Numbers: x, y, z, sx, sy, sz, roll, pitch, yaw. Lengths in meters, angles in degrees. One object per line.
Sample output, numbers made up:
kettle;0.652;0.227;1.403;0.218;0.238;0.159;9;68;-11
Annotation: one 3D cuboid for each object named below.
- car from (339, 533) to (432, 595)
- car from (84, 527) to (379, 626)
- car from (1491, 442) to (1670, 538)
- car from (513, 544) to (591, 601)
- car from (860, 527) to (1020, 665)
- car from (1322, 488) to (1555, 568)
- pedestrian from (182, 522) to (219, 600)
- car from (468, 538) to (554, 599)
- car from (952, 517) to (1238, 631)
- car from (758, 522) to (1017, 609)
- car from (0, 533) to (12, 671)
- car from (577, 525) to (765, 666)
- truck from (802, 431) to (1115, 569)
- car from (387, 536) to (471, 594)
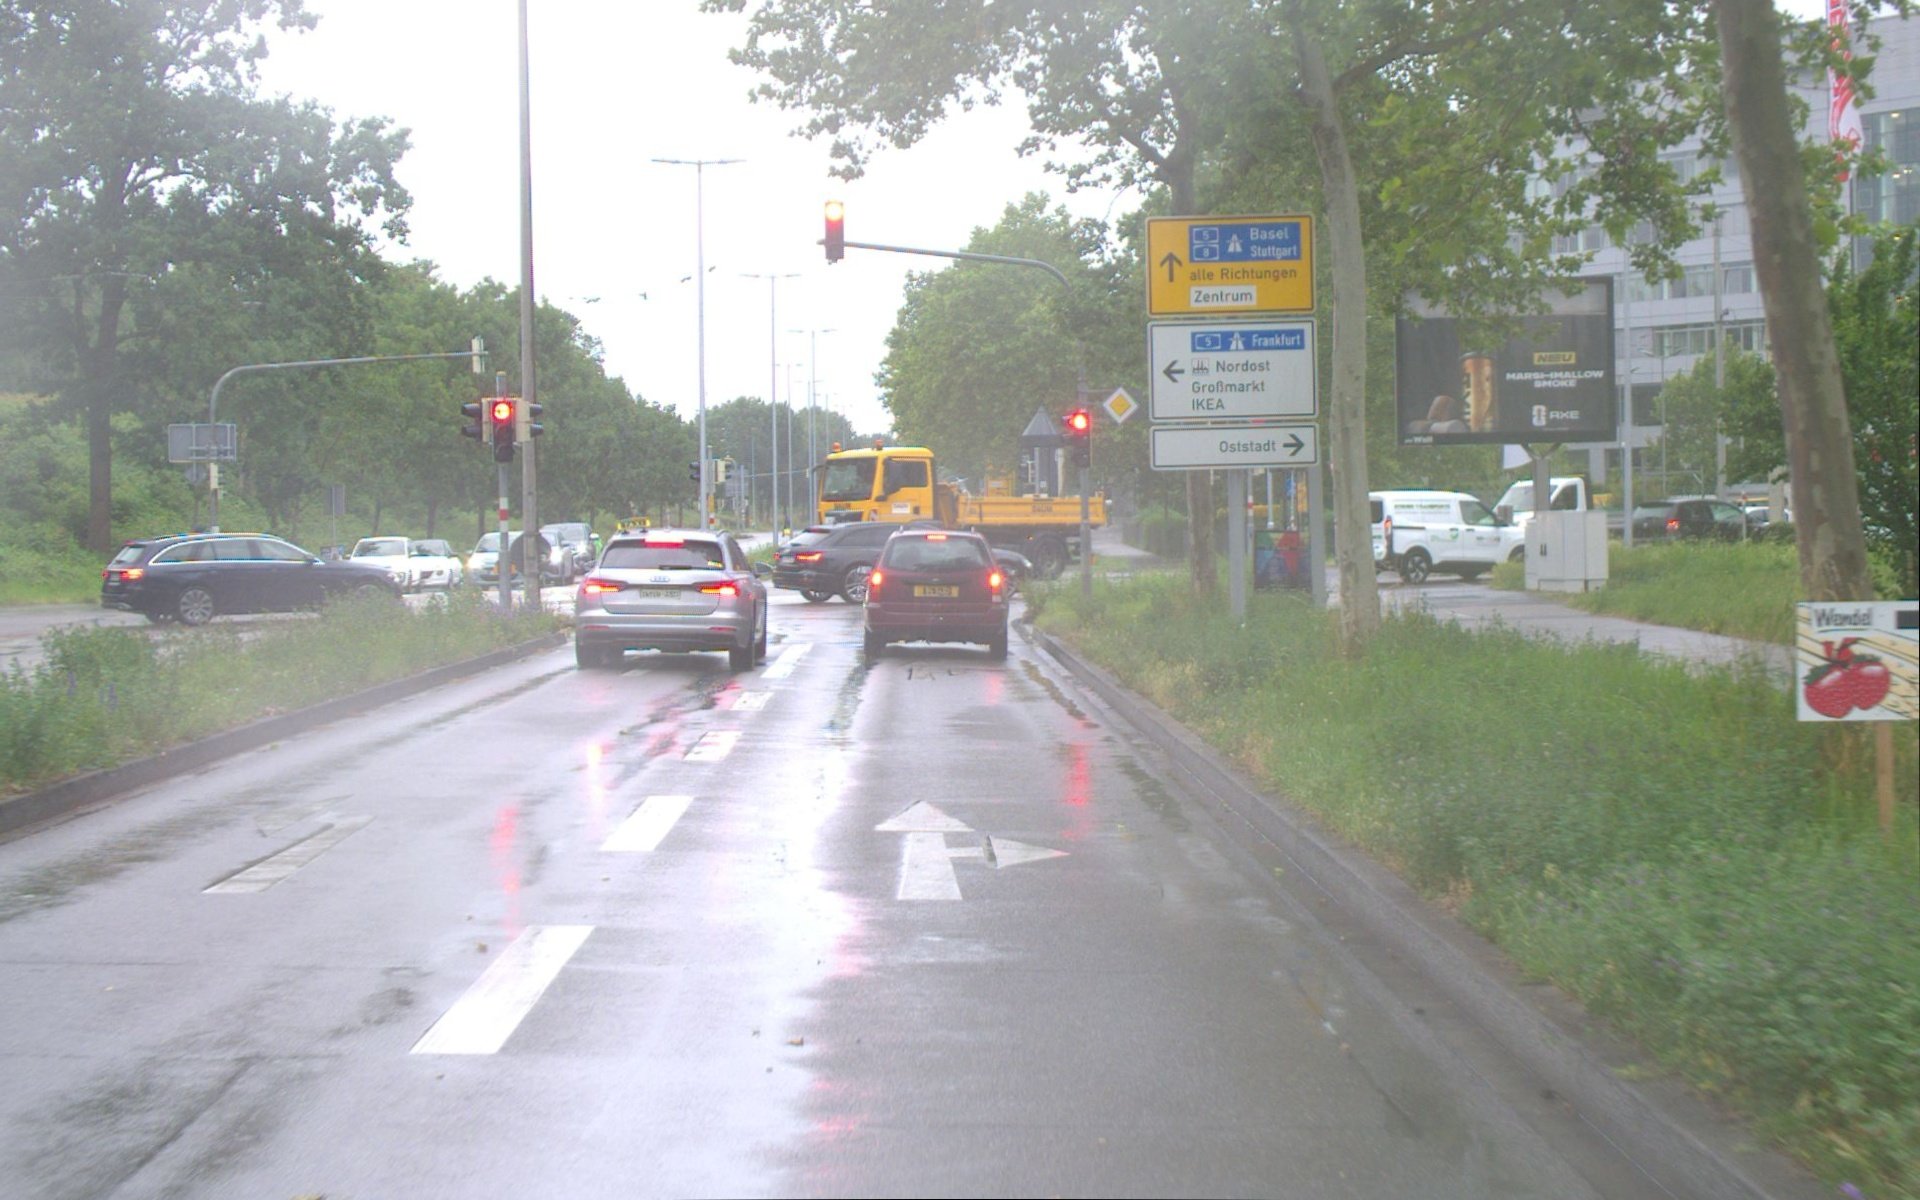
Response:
car;-14.710;-0.945;88.137;1.712;1.525;4.000;-1;1;0
car;-11.948;-0.401;56.415;4.372;1.532;1.802;-1;1;-29
car;15.688;-2.788;86.814;4.374;2.183;1.802;-4;3;-35
car;-11.422;-0.789;96.508;1.712;1.525;4.000;-1;1;0
car;-0.245;-0.077;41.271;1.796;1.532;4.387;1;1;0
car;9.554;-1.442;68.561;4.372;1.532;1.802;-1;1;-29
pedestrian;-17.451;-0.898;78.984;0.533;1.779;0.673;1;0;17
car;-11.649;-0.832;89.348;1.712;1.525;4.000;-1;1;0
car;2.157;-0.448;54.107;4.375;1.531;1.801;-4;4;-40
car;-1.308;-0.647;62.407;4.372;1.532;1.802;-1;1;-29
car;-12.408;0.009;41.222;1.856;1.583;4.520;-1;1;-14
car;-3.071;-0.083;37.284;1.690;1.428;4.574;0;1;0
truck;0.014;-2.298;79.354;7.027;3.043;2.647;-1;1;-37
car;-14.592;-0.986;94.676;1.712;1.525;4.000;-1;1;0
